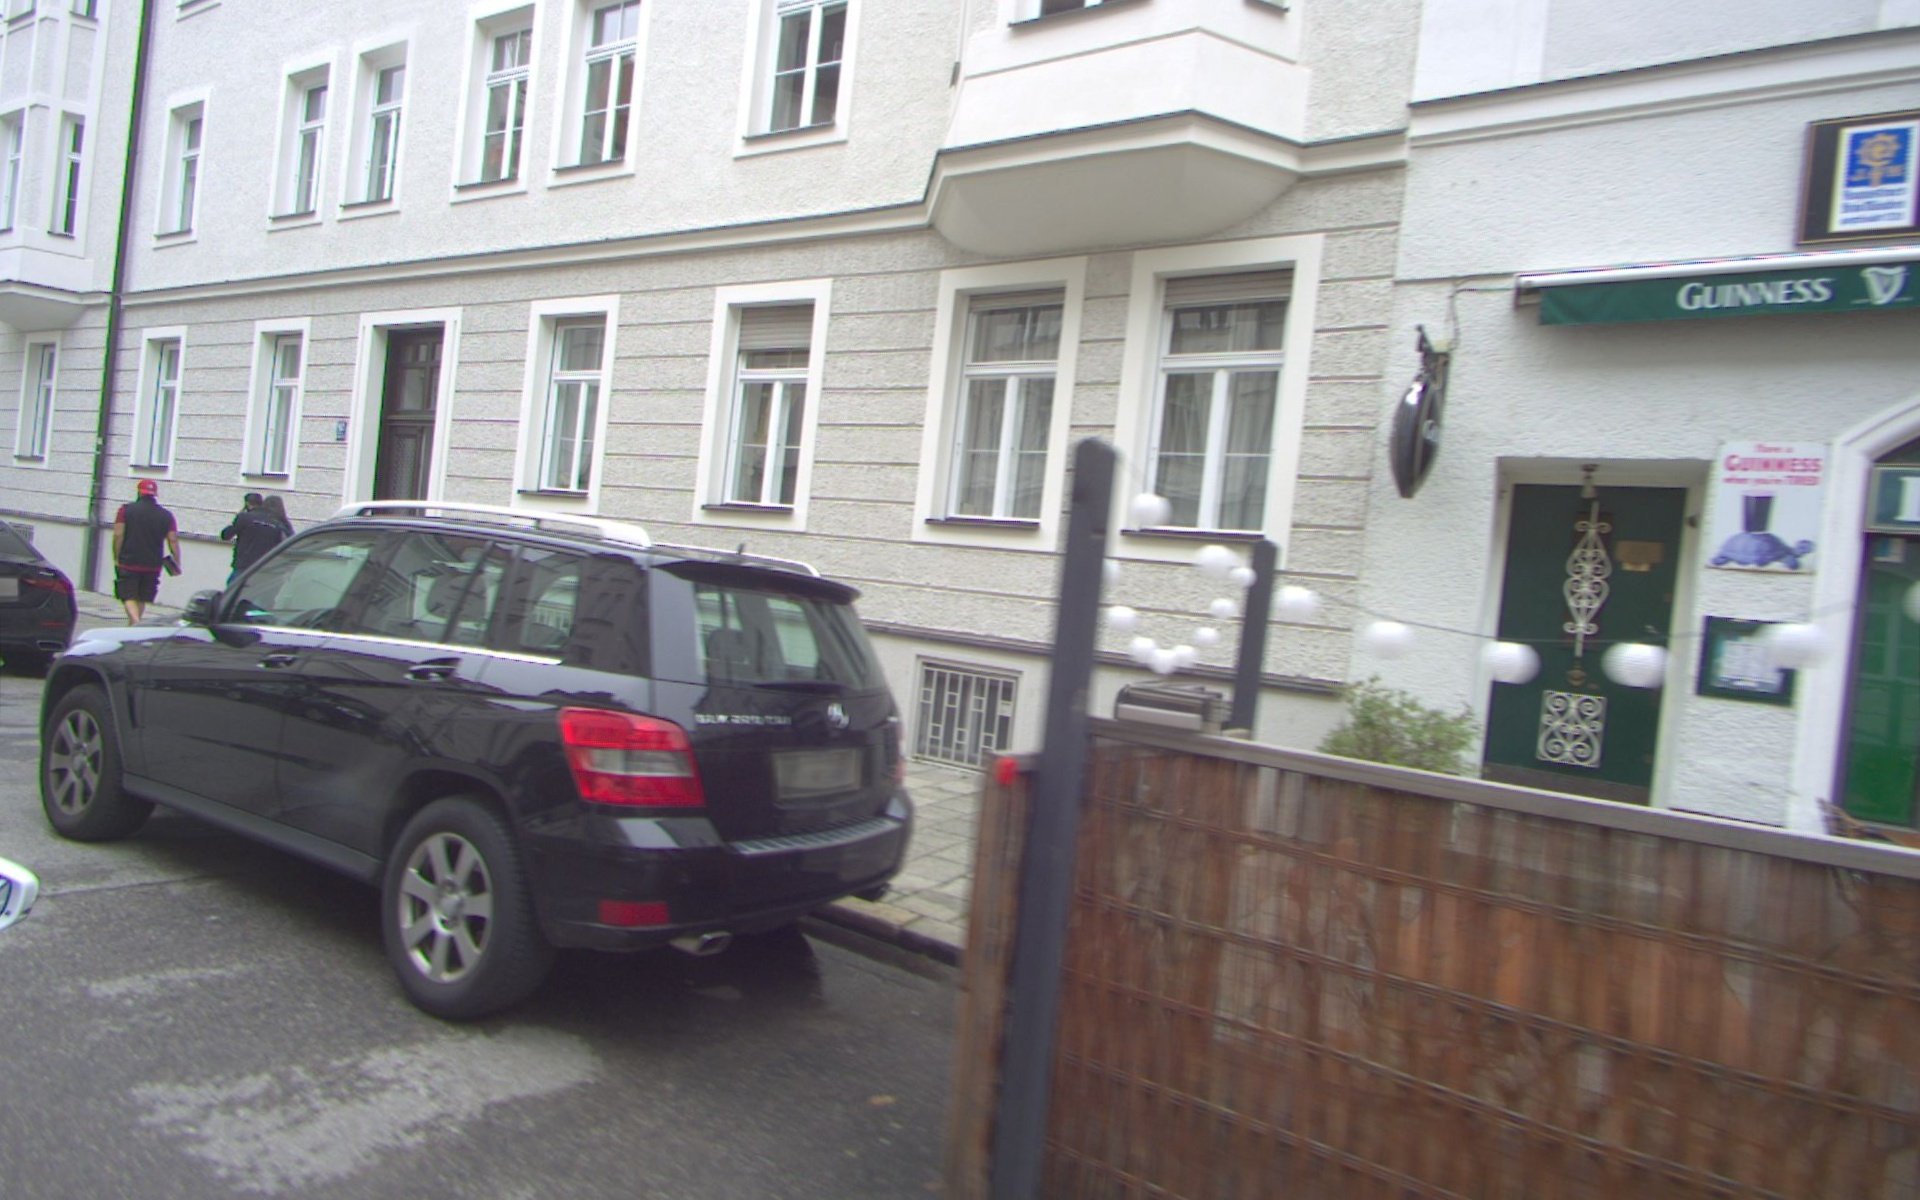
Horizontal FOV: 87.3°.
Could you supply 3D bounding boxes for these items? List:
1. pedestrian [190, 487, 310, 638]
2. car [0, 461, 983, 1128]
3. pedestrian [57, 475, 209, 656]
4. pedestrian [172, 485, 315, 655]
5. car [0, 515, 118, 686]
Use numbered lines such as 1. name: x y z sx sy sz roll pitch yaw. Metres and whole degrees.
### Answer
1. pedestrian: -9.280 -0.495 13.147 1.092 1.839 0.883 7 4 30
2. car: -2.219 0.484 4.524 4.117 1.693 1.805 6 -3 29
3. pedestrian: -9.045 -0.372 11.010 1.092 1.836 0.883 7 2 30
4. pedestrian: -8.240 -0.333 11.571 1.092 1.810 0.884 7 2 30
5. car: -10.429 -0.268 9.511 4.885 1.415 1.842 7 -2 26
